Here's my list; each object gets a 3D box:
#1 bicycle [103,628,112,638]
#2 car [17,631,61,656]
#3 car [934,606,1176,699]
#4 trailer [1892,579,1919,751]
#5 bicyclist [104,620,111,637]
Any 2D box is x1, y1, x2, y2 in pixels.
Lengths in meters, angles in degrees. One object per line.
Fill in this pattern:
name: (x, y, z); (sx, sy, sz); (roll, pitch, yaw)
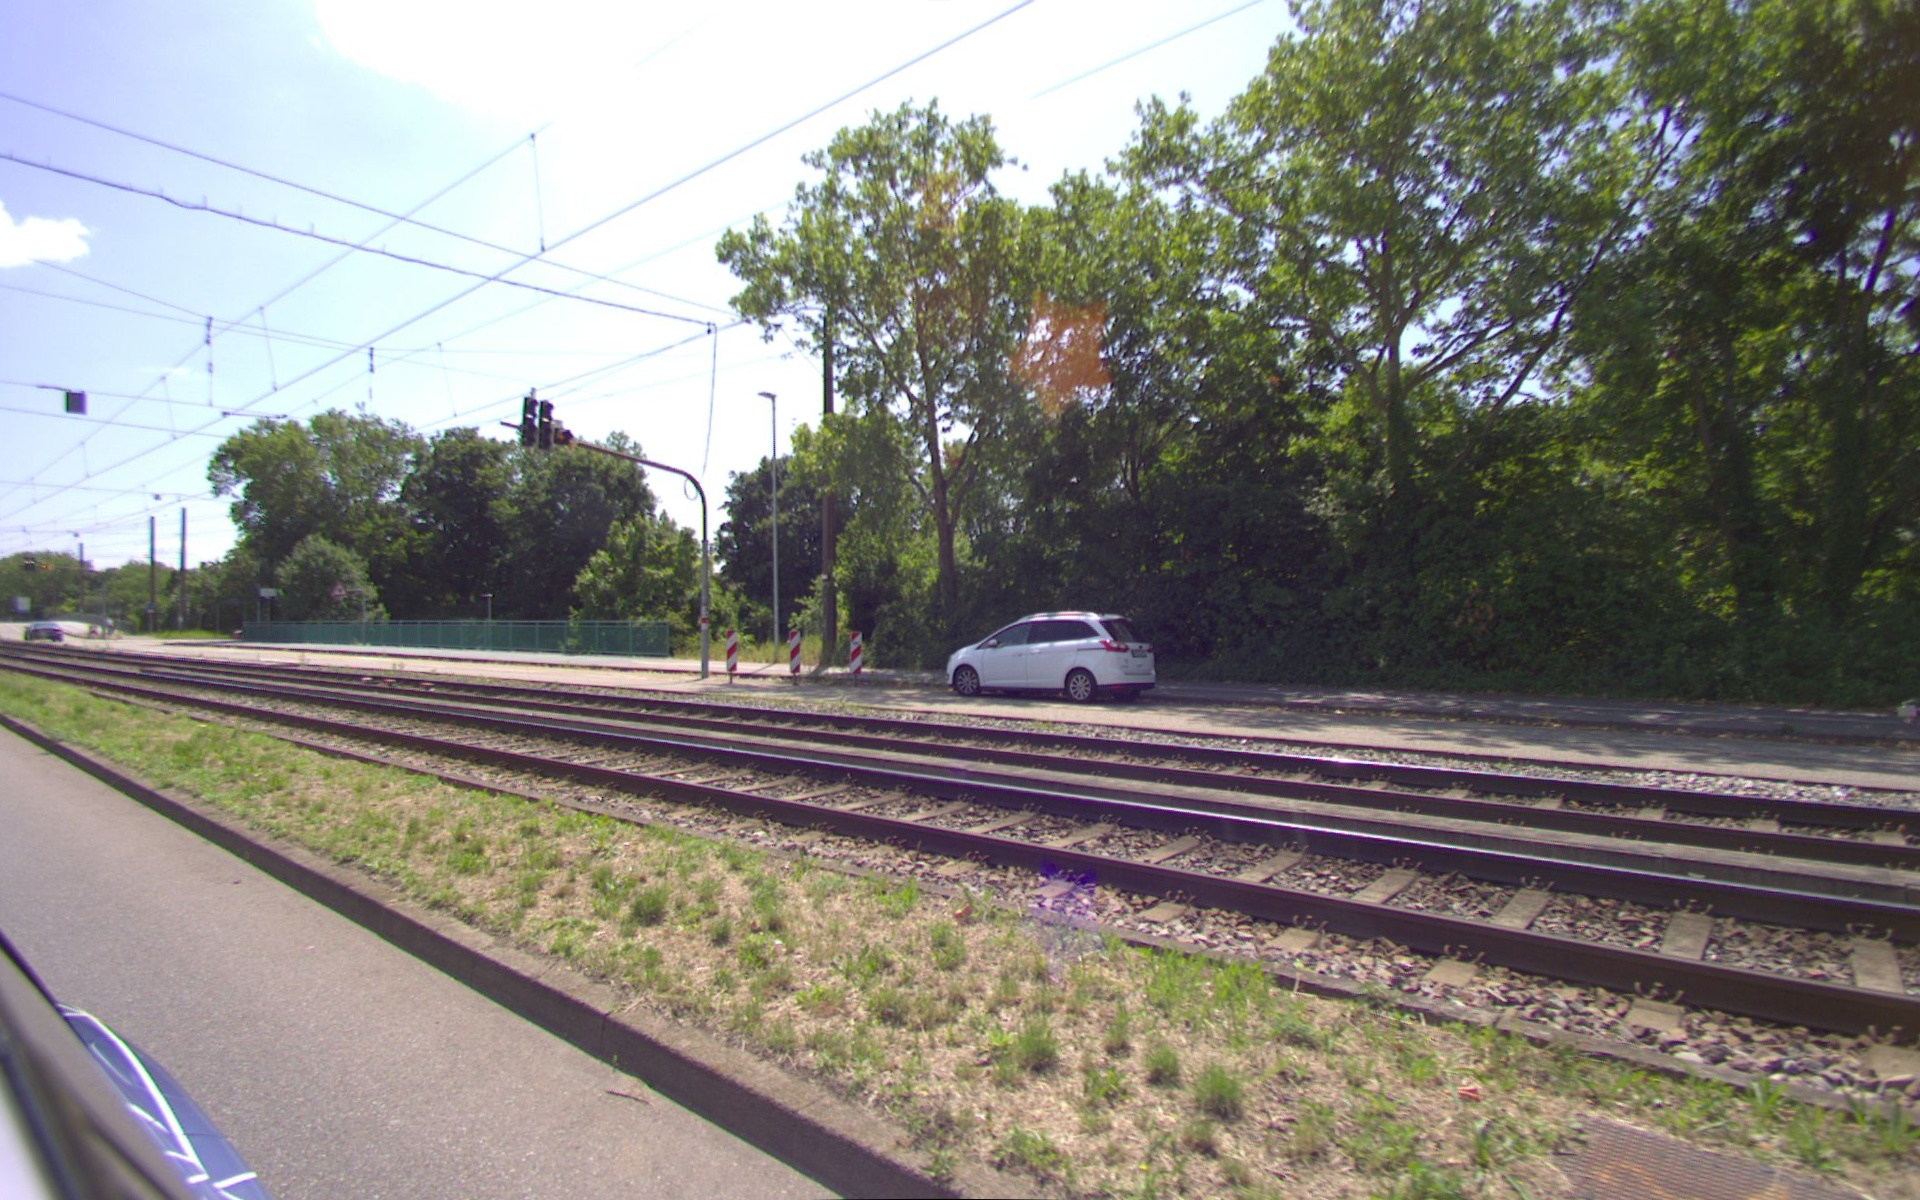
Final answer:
bicycle: (-77.293, 3.002, 91.734); (1.743, 0.875, 0.463); (-1, -1, 44)
car: (-69.097, 3.253, 75.900); (5.327, 1.733, 1.856); (-1, -1, 41)
car: (1.772, 1.065, 19.914); (4.612, 1.643, 1.702); (-3, -5, 40)
trailer: (13.282, 0.667, 9.816); (5.951, 1.903, 2.439); (-1, -1, 37)
bicyclist: (-77.156, 2.577, 91.587); (0.633, 1.485, 0.451); (-1, -1, 44)
